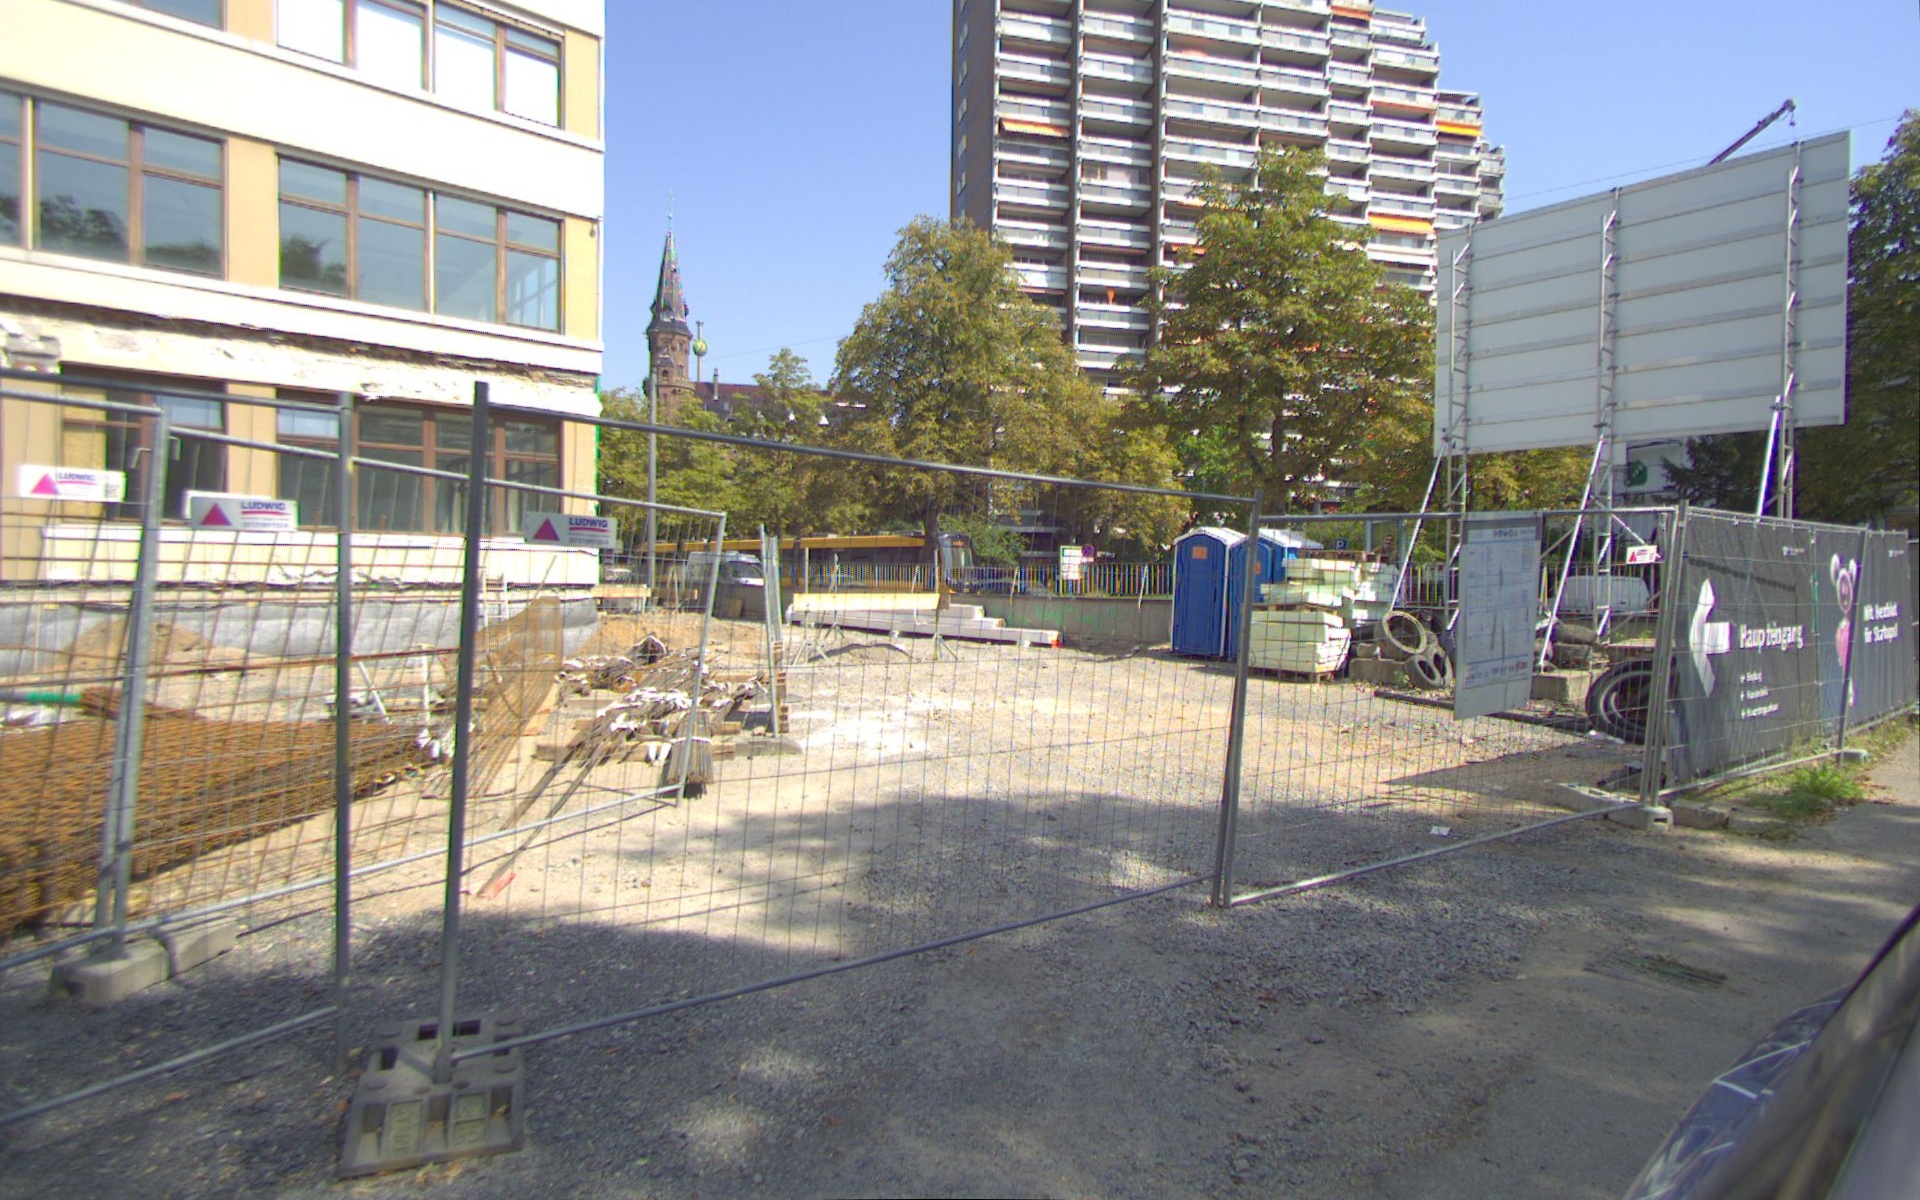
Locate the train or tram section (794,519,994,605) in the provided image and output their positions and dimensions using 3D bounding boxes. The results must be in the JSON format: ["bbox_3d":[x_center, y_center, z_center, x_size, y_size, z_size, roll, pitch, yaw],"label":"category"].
[{"bbox_3d":[-3.663,-1.860,50.315,3.446,3.750,12.401,-1,2,-39],"label":"train or tram section"}]

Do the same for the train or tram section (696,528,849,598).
[{"bbox_3d":[-11.397,-2.180,60.001,3.446,3.750,12.401,-1,2,-39],"label":"train or tram section"}]

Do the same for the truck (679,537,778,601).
[{"bbox_3d":[-10.351,-1.398,44.915,1.890,2.631,5.585,-1,2,-41],"label":"truck"}]

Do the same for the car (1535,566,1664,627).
[{"bbox_3d":[20.477,-0.169,32.628,1.794,1.794,4.278,1,1,7],"label":"car"}]

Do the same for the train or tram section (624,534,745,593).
[{"bbox_3d":[-19.199,-2.483,69.693,3.446,3.750,12.401,-1,2,-39],"label":"train or tram section"}]

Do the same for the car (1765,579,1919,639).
[{"bbox_3d":[24.725,0.198,28.232,1.691,1.526,3.854,1,1,6],"label":"car"}]

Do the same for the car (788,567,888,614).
[{"bbox_3d":[-4.595,-0.372,37.634,1.649,1.599,4.167,2,1,-40],"label":"car"}]
